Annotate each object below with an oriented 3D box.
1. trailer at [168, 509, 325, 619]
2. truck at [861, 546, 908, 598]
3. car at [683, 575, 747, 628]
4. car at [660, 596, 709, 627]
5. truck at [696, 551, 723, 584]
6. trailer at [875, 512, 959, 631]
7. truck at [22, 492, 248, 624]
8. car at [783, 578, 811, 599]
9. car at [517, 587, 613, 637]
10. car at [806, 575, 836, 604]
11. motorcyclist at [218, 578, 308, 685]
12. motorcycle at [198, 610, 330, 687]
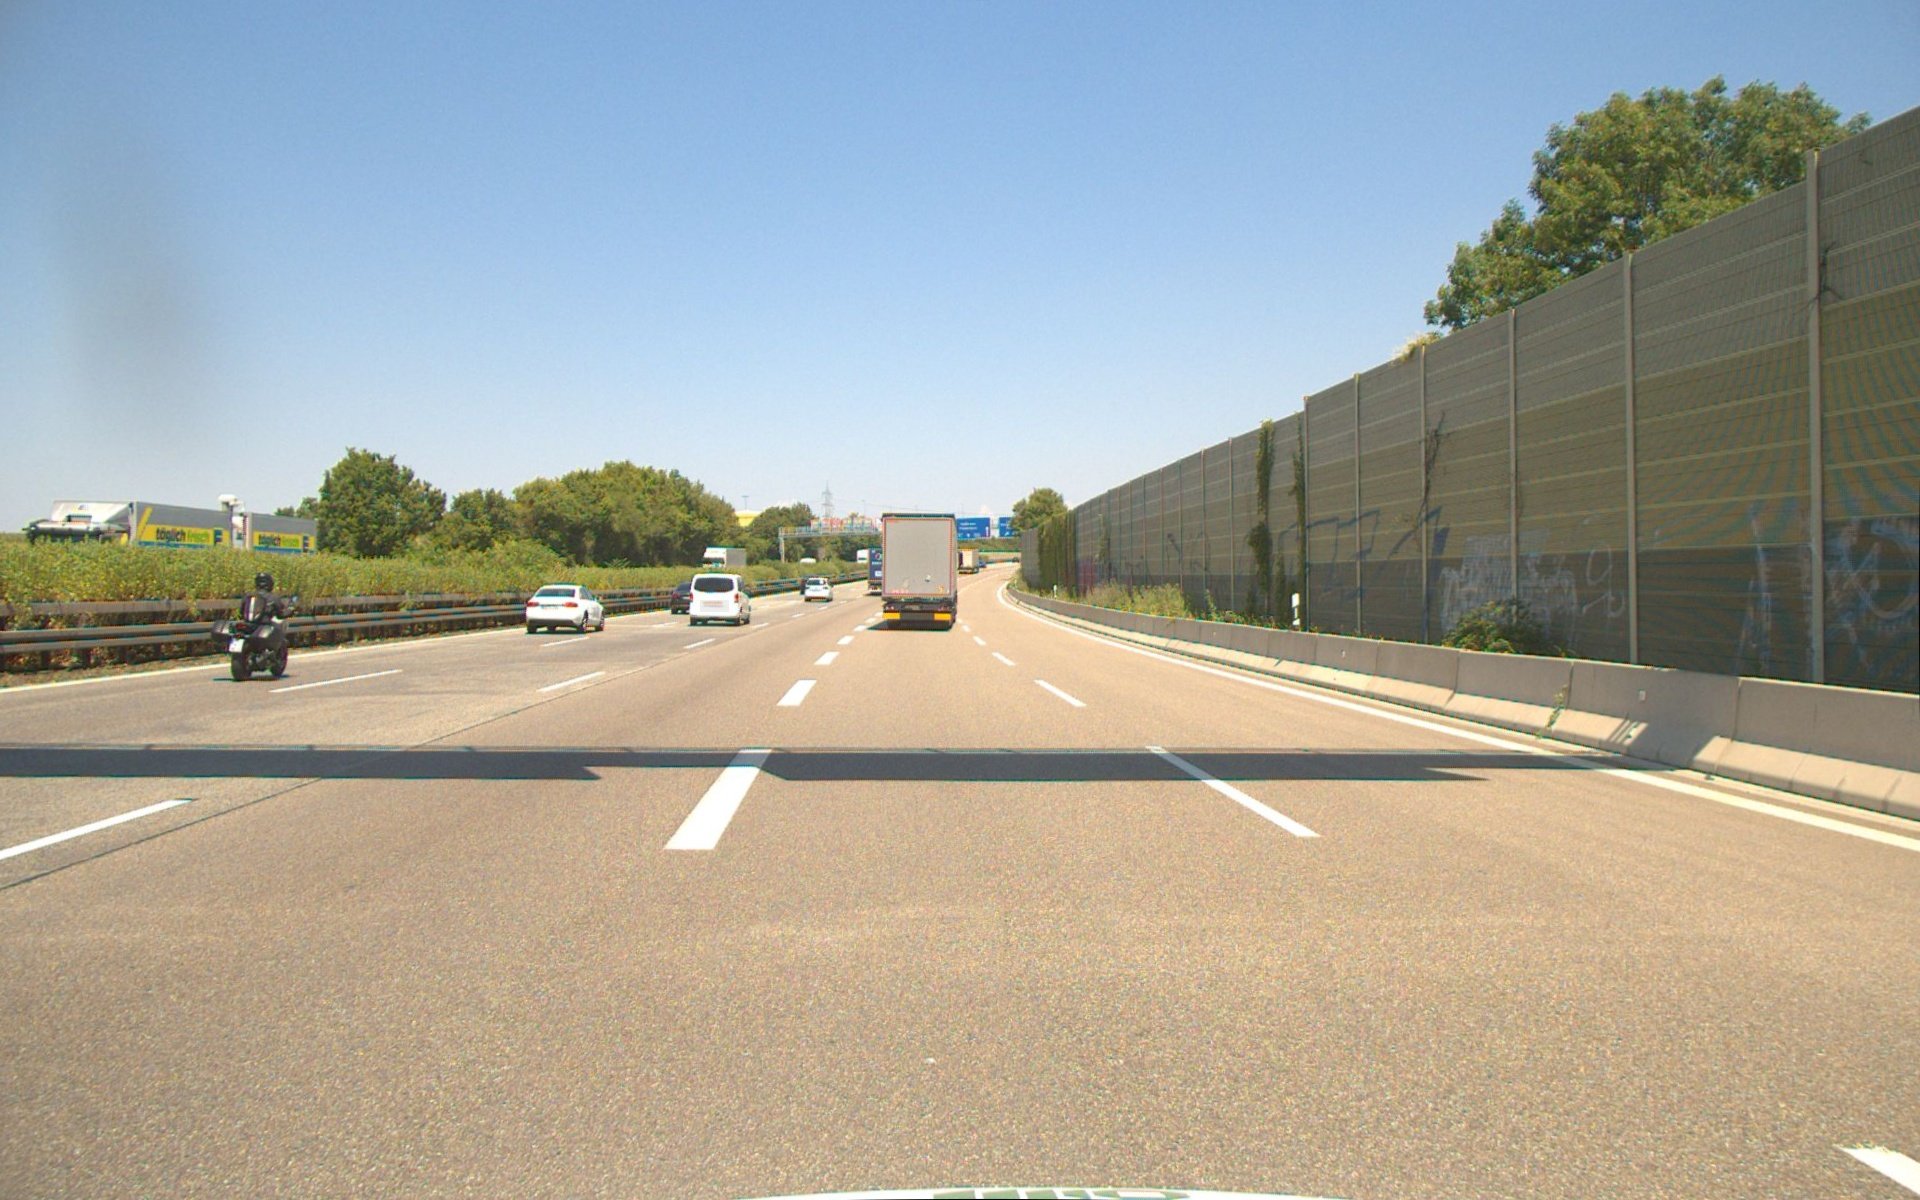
[{"bbox_3d":[-28.006,-1.368,65.439,2.865,4.037,8.653,0,0,-3],"label":"trailer"},{"bbox_3d":[-6.477,-2.528,144.341,3.671,4.344,14.495,1,2,-1],"label":"truck"},{"bbox_3d":[-9.112,0.080,61.798,1.892,1.884,4.689,-1,-1,-3],"label":"car"},{"bbox_3d":[-13.218,0.557,79.611,1.721,1.433,5.037,-1,-1,-2],"label":"car"},{"bbox_3d":[-30.967,-4.029,204.369,2.486,4.016,5.167,0,1,0],"label":"truck"},{"bbox_3d":[-1.735,-1.038,63.036,2.869,4.085,12.033,-1,1,-2],"label":"trailer"},{"bbox_3d":[-27.535,-1.324,55.902,2.942,4.037,10.315,0,0,-3],"label":"truck"},{"bbox_3d":[-13.965,-1.031,141.982,1.865,1.718,4.632,-1,1,1],"label":"car"},{"bbox_3d":[-12.250,0.346,51.611,1.838,1.466,5.124,0,0,-1],"label":"car"},{"bbox_3d":[-9.820,-0.763,116.789,1.866,1.883,4.630,-1,2,-2],"label":"car"},{"bbox_3d":[-10.876,0.473,25.848,0.875,1.625,1.299,0,0,-1],"label":"motorcyclist"},{"bbox_3d":[-10.868,0.729,25.953,0.894,1.108,2.849,0,0,-1],"label":"motorcycle"}]
